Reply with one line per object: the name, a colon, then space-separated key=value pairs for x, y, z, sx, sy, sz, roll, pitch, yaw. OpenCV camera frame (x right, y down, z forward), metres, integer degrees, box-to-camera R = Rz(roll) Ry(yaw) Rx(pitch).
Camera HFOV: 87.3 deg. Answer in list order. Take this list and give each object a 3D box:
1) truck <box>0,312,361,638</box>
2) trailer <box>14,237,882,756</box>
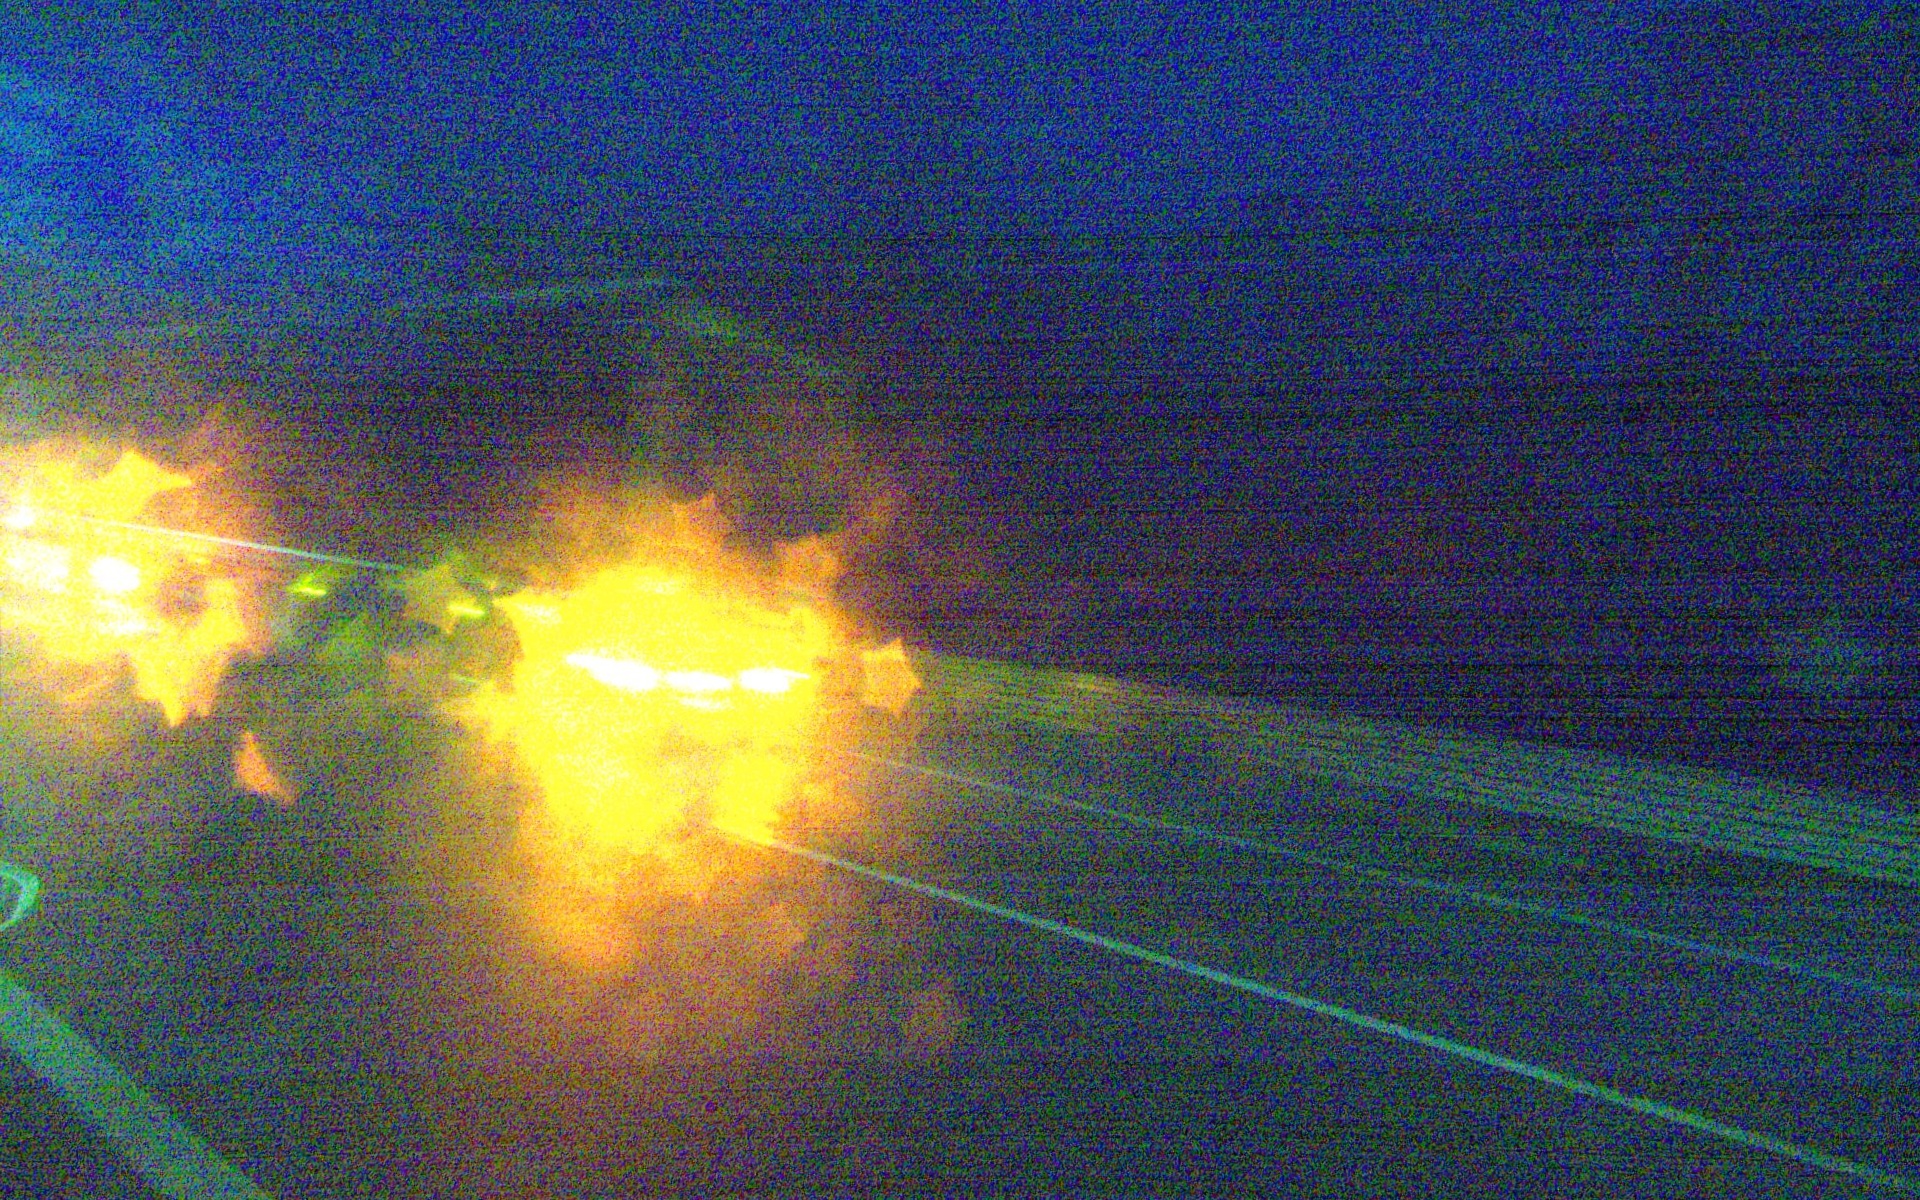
truck: x=-13.306 y=-1.941 z=16.348 sx=6.897 sy=4.150 sz=2.865 roll=7 pitch=-2 yaw=32
trailer: x=-7.461 y=-1.290 z=12.725 sx=13.415 sy=4.145 sz=2.870 roll=6 pitch=-2 yaw=32
